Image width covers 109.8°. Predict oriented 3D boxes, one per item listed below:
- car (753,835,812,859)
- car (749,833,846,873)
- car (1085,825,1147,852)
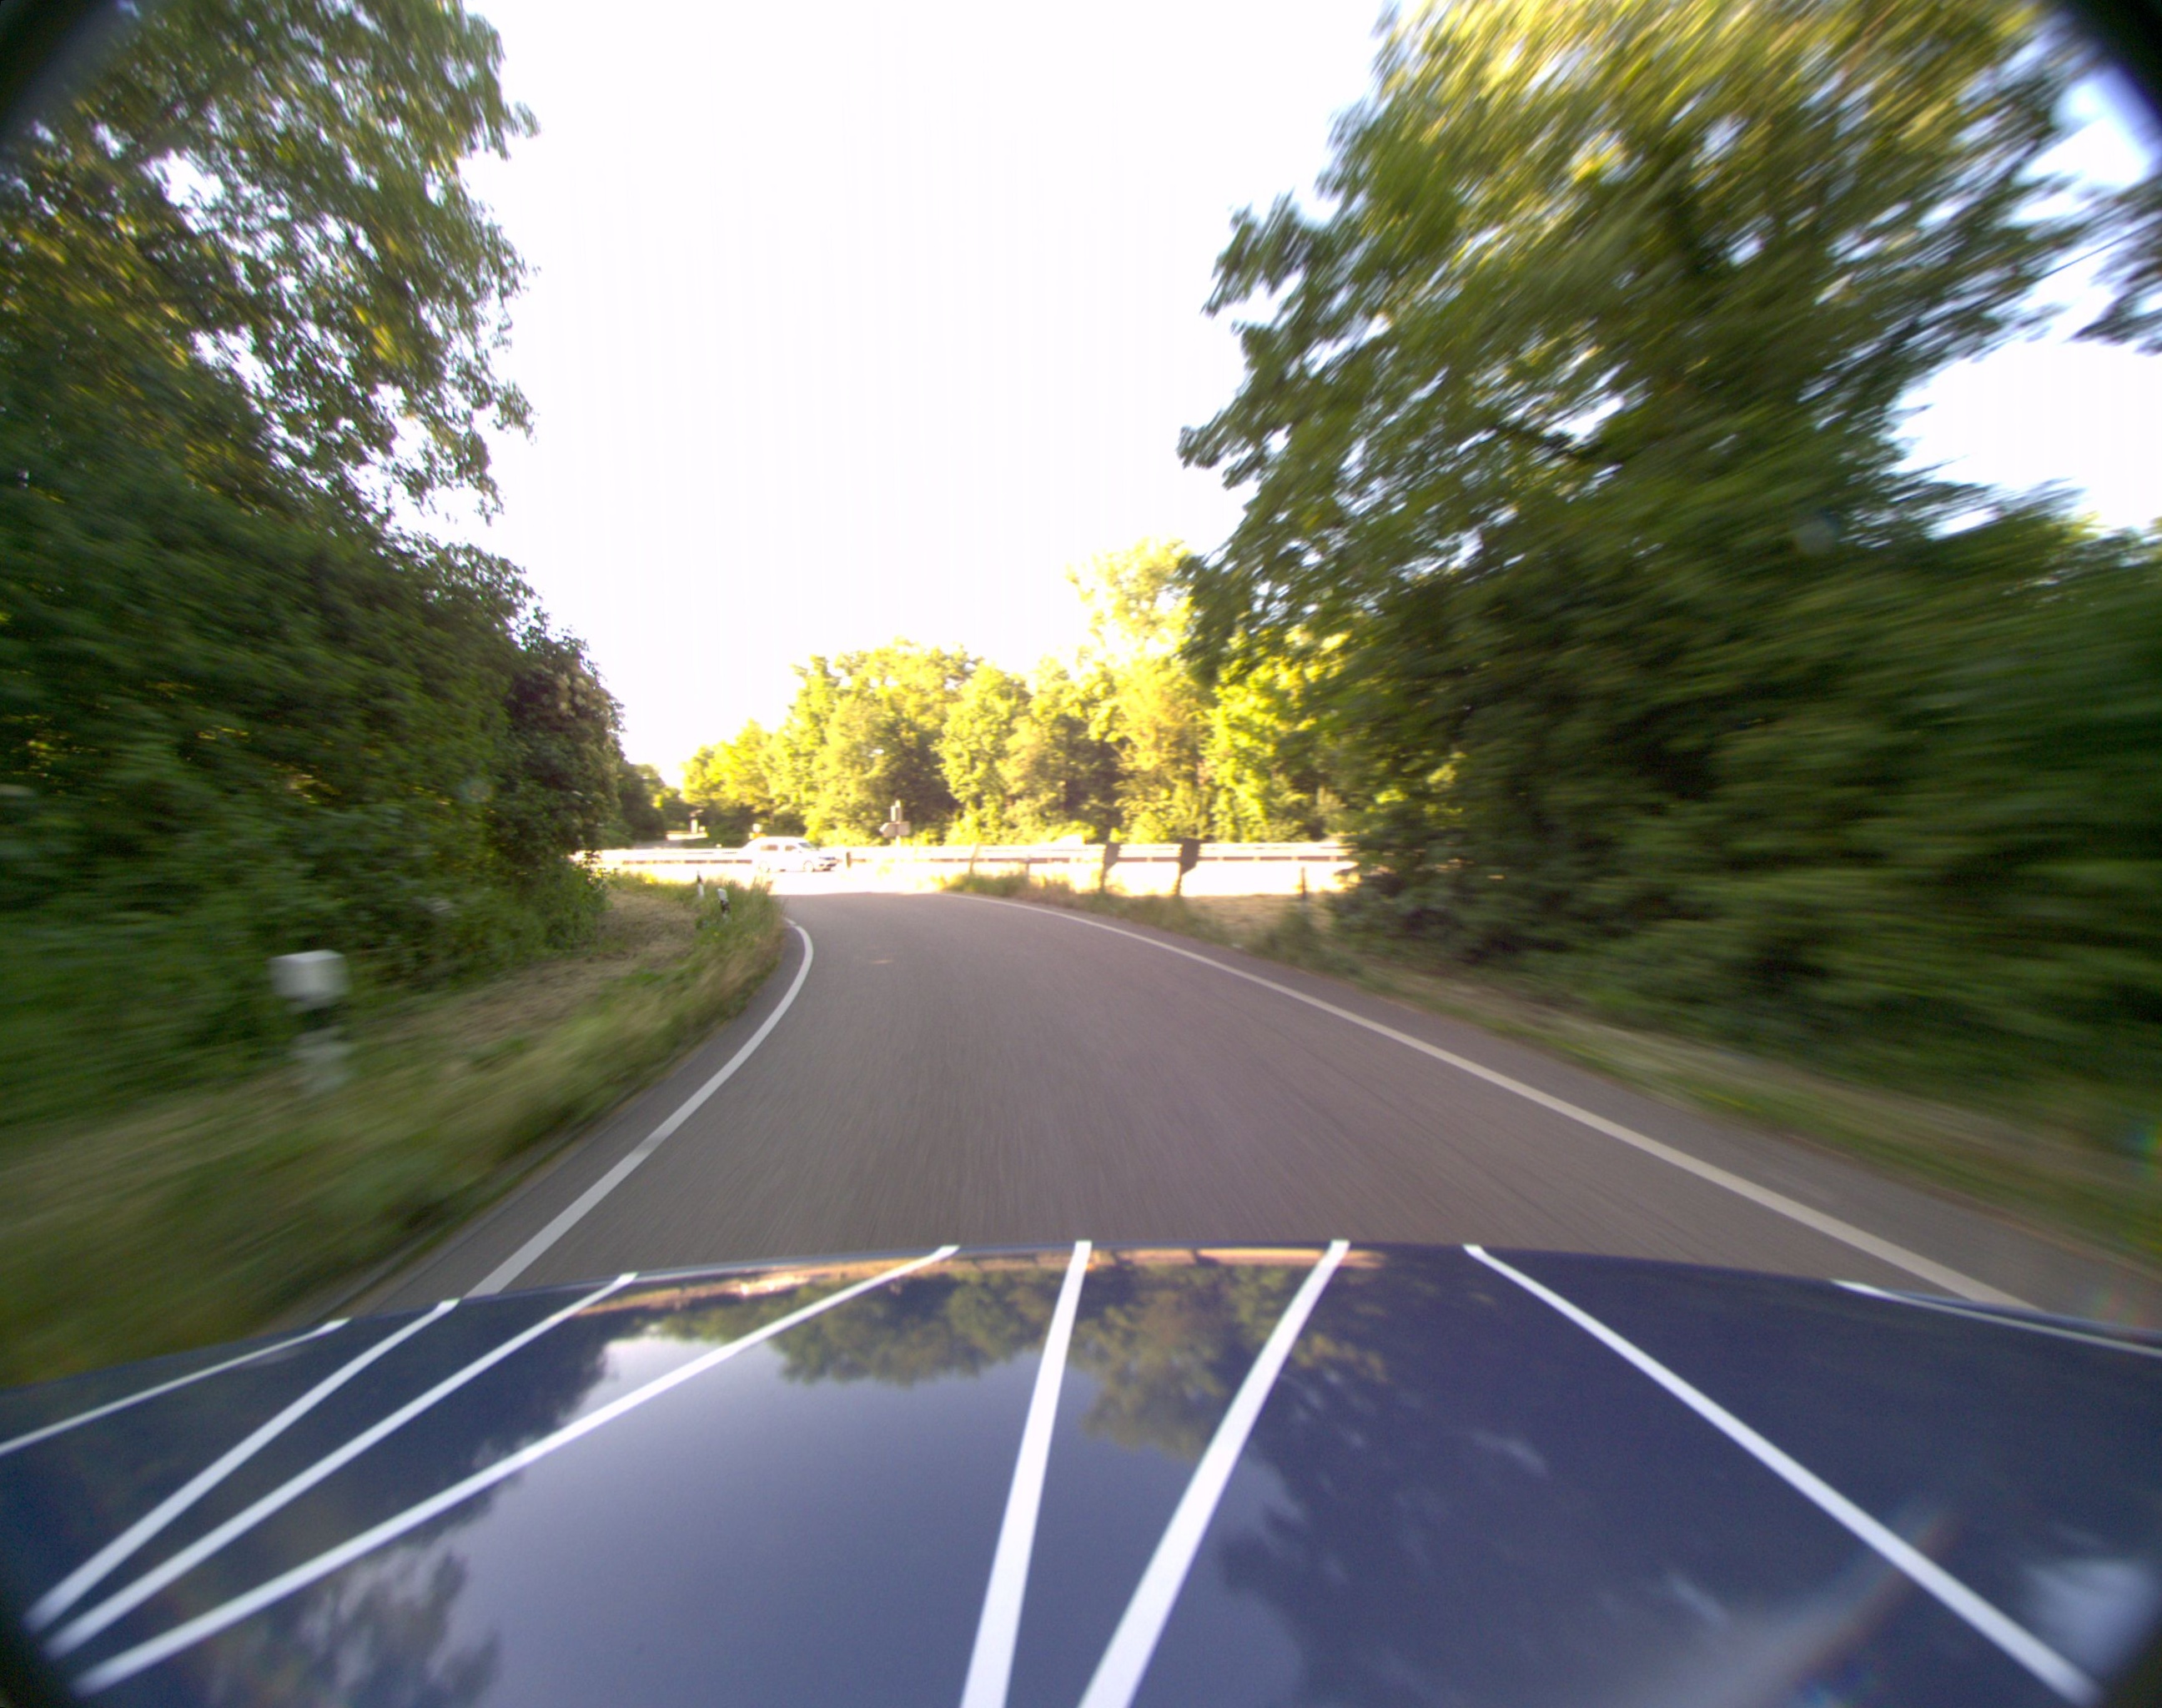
[{"bbox_3d":[-22.570,-0.533,57.526,3.698,1.612,1.938,-2,1,17],"label":"car"},{"bbox_3d":[-14.868,-0.066,39.889,4.342,1.855,1.937,-2,3,16],"label":"car"},{"bbox_3d":[2.346,-1.017,51.054,3.697,1.612,1.939,-2,1,21],"label":"car"}]
